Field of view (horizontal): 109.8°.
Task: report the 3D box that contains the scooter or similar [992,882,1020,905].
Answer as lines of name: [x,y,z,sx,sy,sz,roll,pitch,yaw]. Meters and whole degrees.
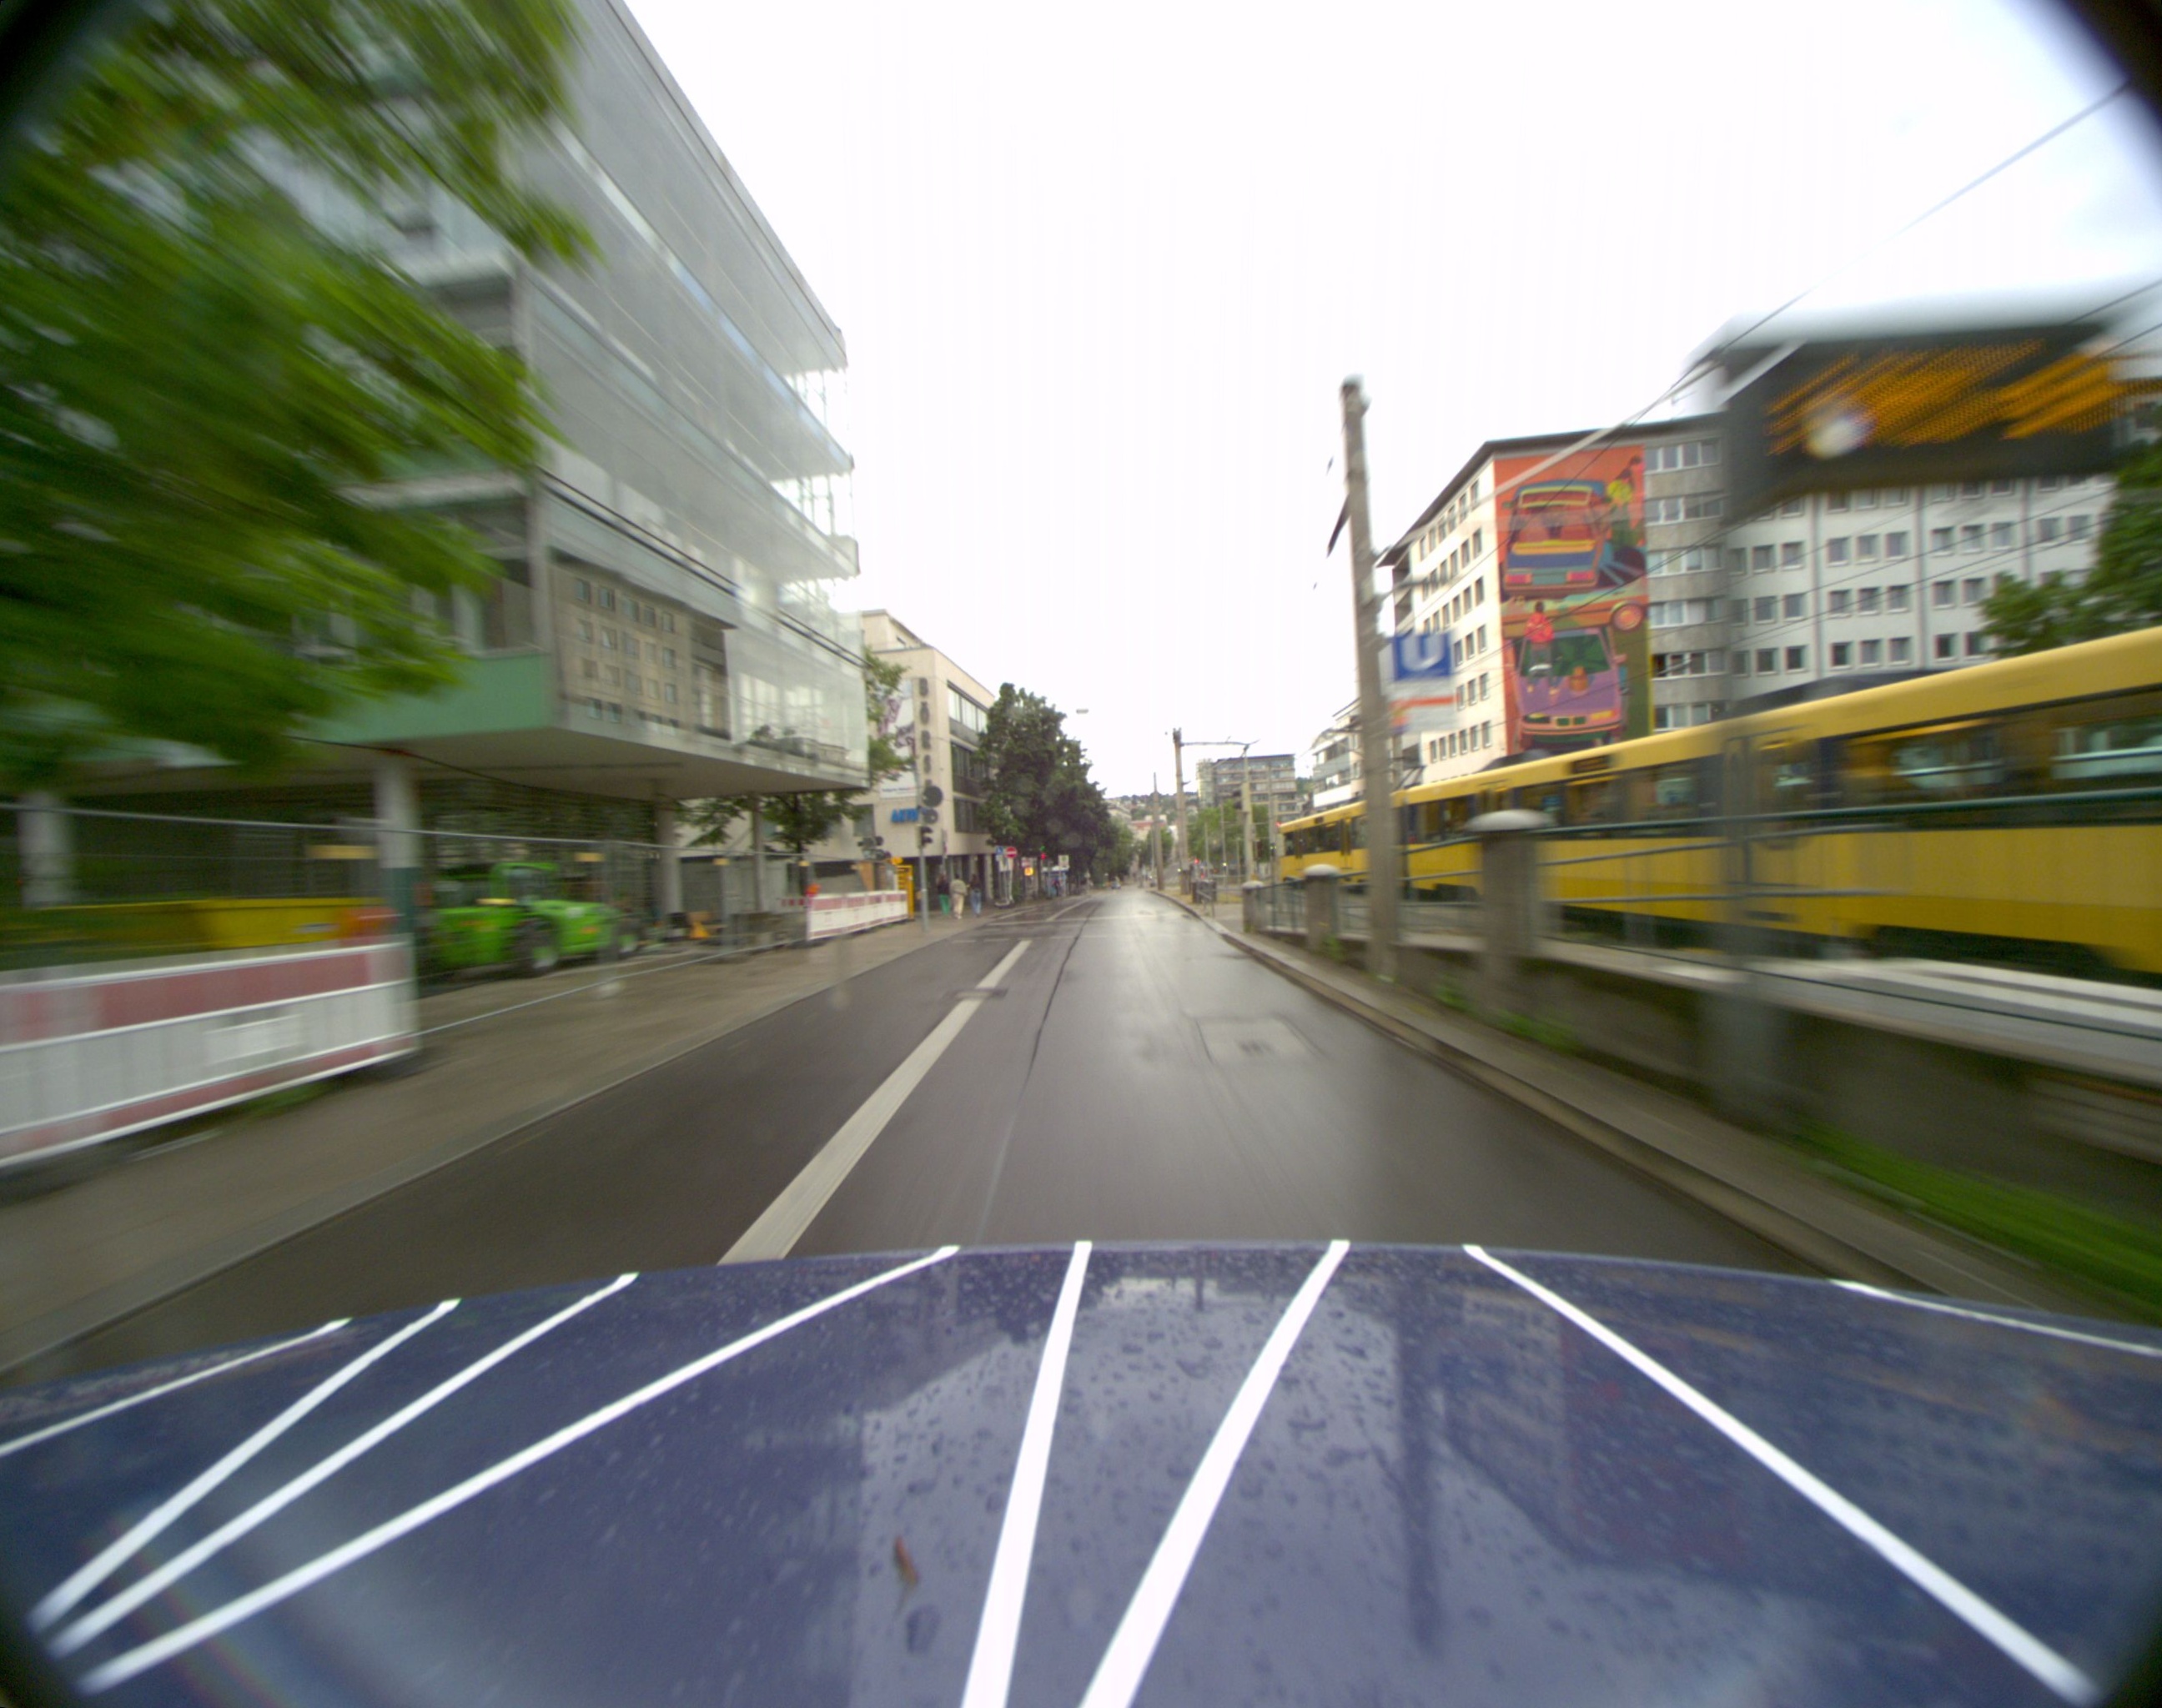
scooter or similar: [-4.056,2.131,41.254,1.385,1.172,0.511,-3,0,-27]

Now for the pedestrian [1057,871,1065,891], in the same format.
pedestrian: [-1.670,2.218,63.131,0.560,1.614,0.485,-4,-2,5]

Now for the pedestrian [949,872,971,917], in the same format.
pedestrian: [-4.781,1.588,30.065,0.720,1.751,0.958,-2,-1,-5]

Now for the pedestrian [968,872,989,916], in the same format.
pedestrian: [-4.201,1.626,31.157,0.720,1.751,0.958,-2,-1,-5]

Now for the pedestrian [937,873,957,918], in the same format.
pedestrian: [-5.408,1.663,30.692,0.599,1.751,0.845,-3,0,2]

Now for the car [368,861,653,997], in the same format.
car: [-9.840,1.179,13.642,2.015,1.970,4.200,-3,-1,-3]

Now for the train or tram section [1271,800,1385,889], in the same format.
train or tram section: [11.723,-0.318,37.141,2.785,3.669,8.978,-4,-1,3]

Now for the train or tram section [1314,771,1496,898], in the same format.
train or tram section: [11.315,-0.505,27.892,2.785,3.669,9.513,-4,-1,3]

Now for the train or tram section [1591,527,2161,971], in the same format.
train or tram section: [10.476,-0.893,8.770,2.785,3.669,9.717,-4,-1,3]

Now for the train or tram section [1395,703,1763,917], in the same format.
train or tram section: [10.884,-0.697,18.386,2.785,3.669,9.513,-4,-1,3]

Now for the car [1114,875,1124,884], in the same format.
car: [7.165,4.782,142.835,1.620,1.455,3.591,-4,-3,4]
